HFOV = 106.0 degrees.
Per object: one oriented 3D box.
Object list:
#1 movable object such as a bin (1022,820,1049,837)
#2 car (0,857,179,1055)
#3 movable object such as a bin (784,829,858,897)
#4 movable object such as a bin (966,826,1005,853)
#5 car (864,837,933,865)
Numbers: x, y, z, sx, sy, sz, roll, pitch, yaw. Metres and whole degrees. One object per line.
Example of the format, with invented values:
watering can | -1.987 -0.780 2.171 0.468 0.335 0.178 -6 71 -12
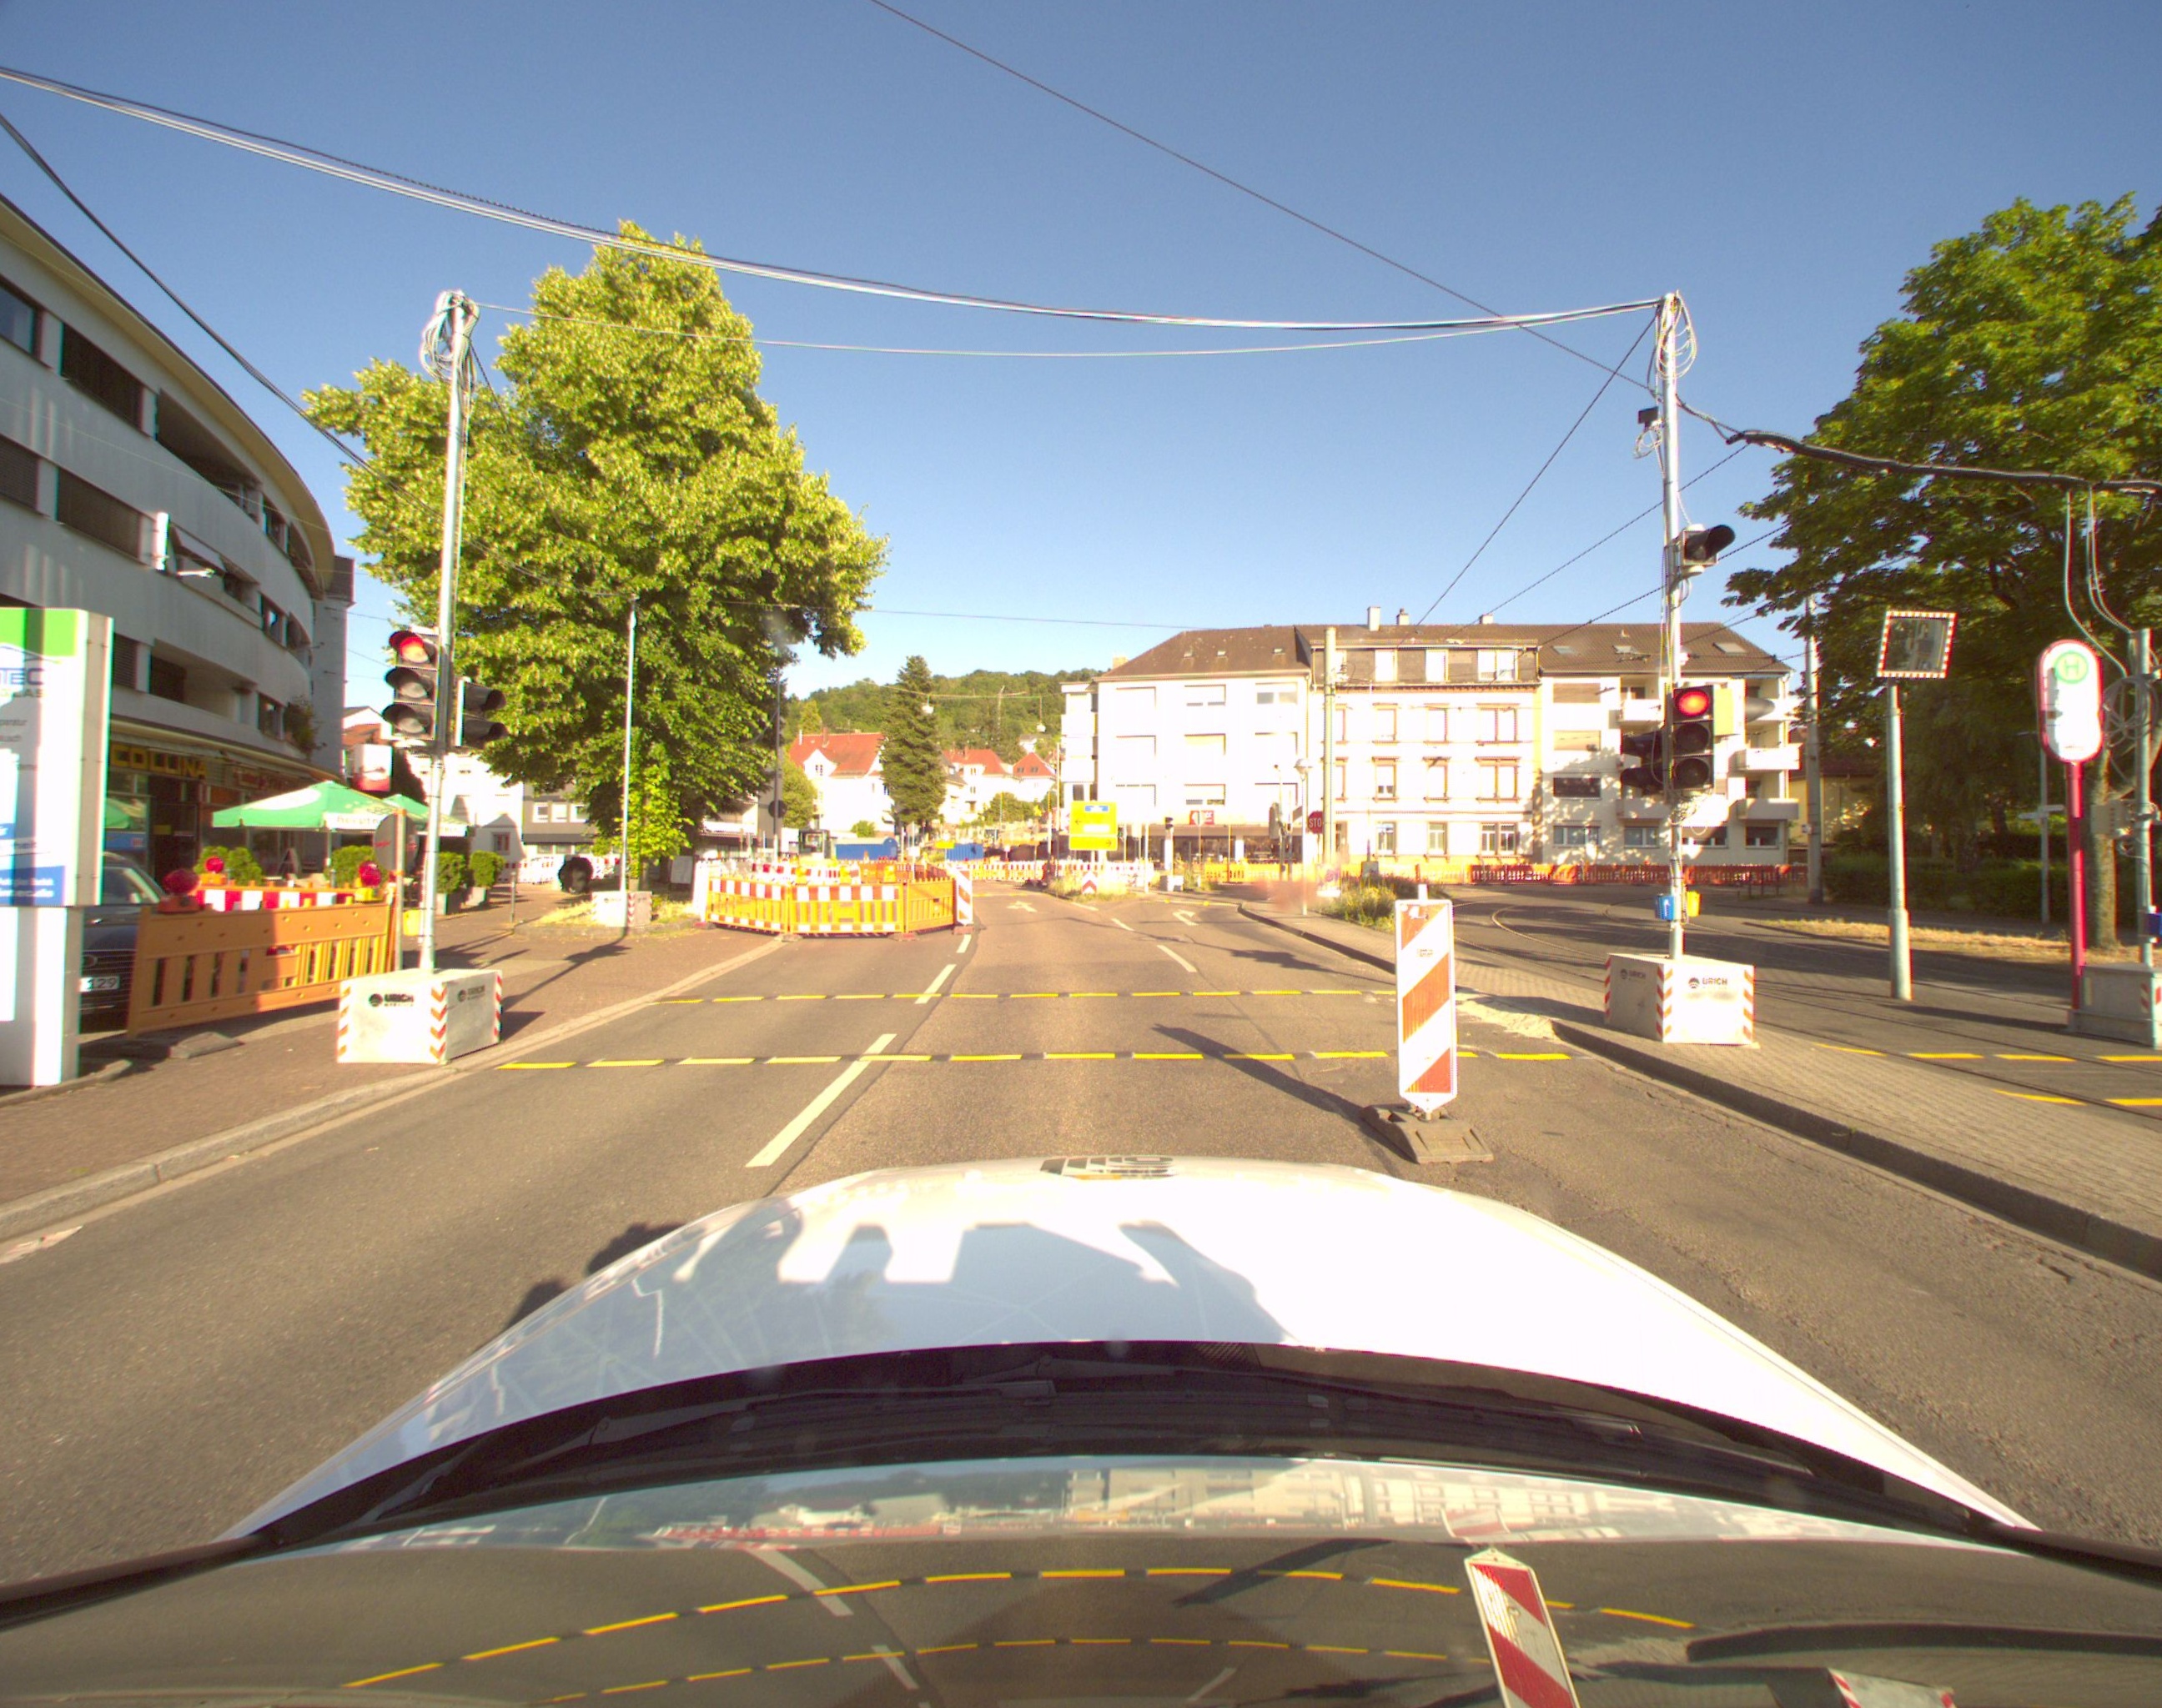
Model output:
movable object such as a bin | -6.419 -3.591 115.290 2.549 2.122 5.801 -1 -1 11
car | -9.315 0.780 7.306 3.835 1.438 1.606 -1 0 42
movable object such as a bin | -9.436 0.301 29.869 1.643 2.324 3.916 0 0 -3
movable object such as a bin | -9.239 -1.346 79.389 1.932 2.494 4.574 -1 -1 20
car | -14.855 -0.226 66.673 2.562 2.121 6.181 -1 -1 20
